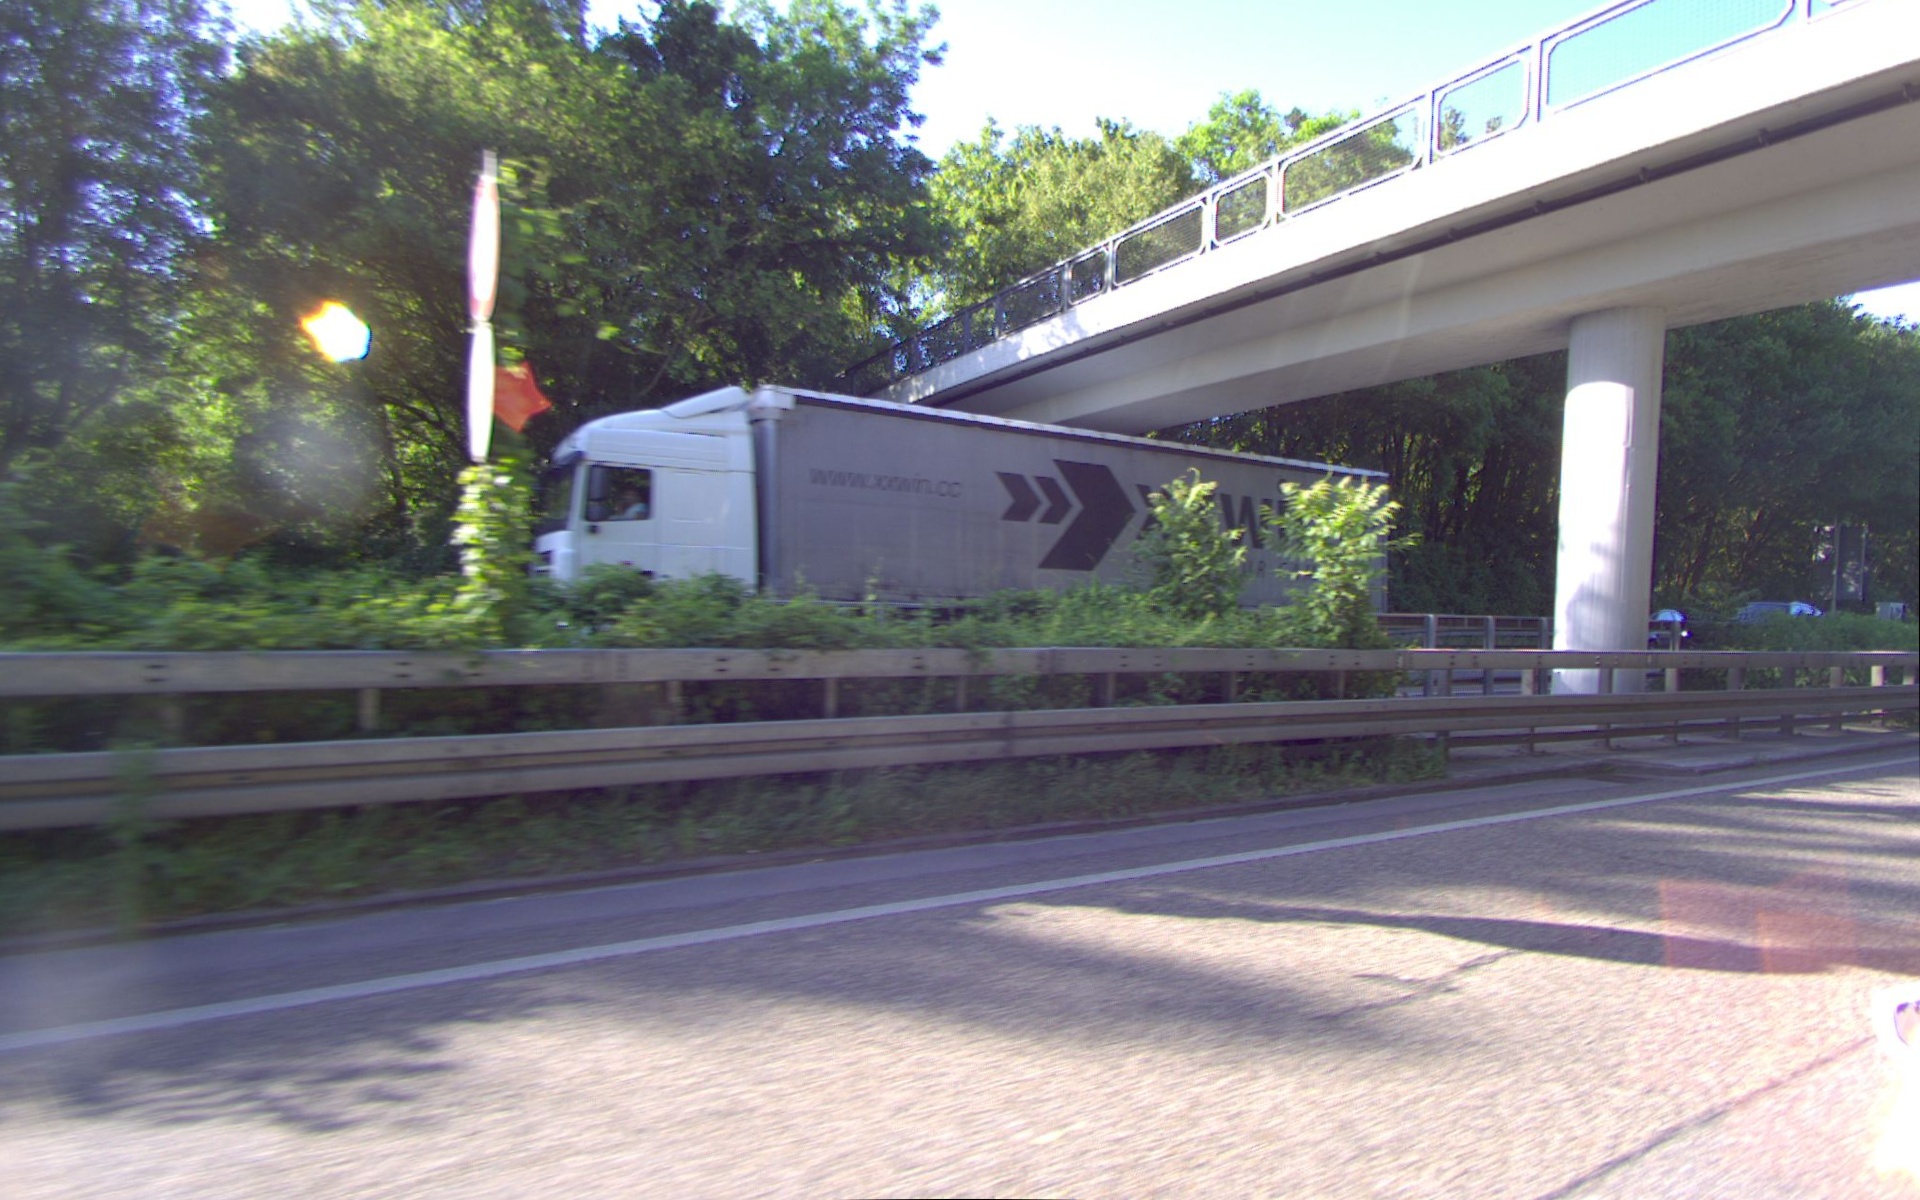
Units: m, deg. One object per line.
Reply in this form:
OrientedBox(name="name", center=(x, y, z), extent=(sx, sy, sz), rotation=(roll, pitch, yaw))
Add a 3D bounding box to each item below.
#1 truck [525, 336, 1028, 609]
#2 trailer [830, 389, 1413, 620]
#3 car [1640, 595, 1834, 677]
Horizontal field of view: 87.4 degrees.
OrientedBox(name="truck", center=(-2.699, -1.576, 15.451), extent=(7.000, 3.210, 2.916), rotation=(2, 0, -30))
OrientedBox(name="trailer", center=(3.571, -1.371, 19.145), extent=(11.776, 3.210, 2.916), rotation=(2, 0, -30))
OrientedBox(name="car", center=(18.173, 0.814, 23.447), extent=(4.685, 1.709, 1.984), rotation=(1, 1, -31))
